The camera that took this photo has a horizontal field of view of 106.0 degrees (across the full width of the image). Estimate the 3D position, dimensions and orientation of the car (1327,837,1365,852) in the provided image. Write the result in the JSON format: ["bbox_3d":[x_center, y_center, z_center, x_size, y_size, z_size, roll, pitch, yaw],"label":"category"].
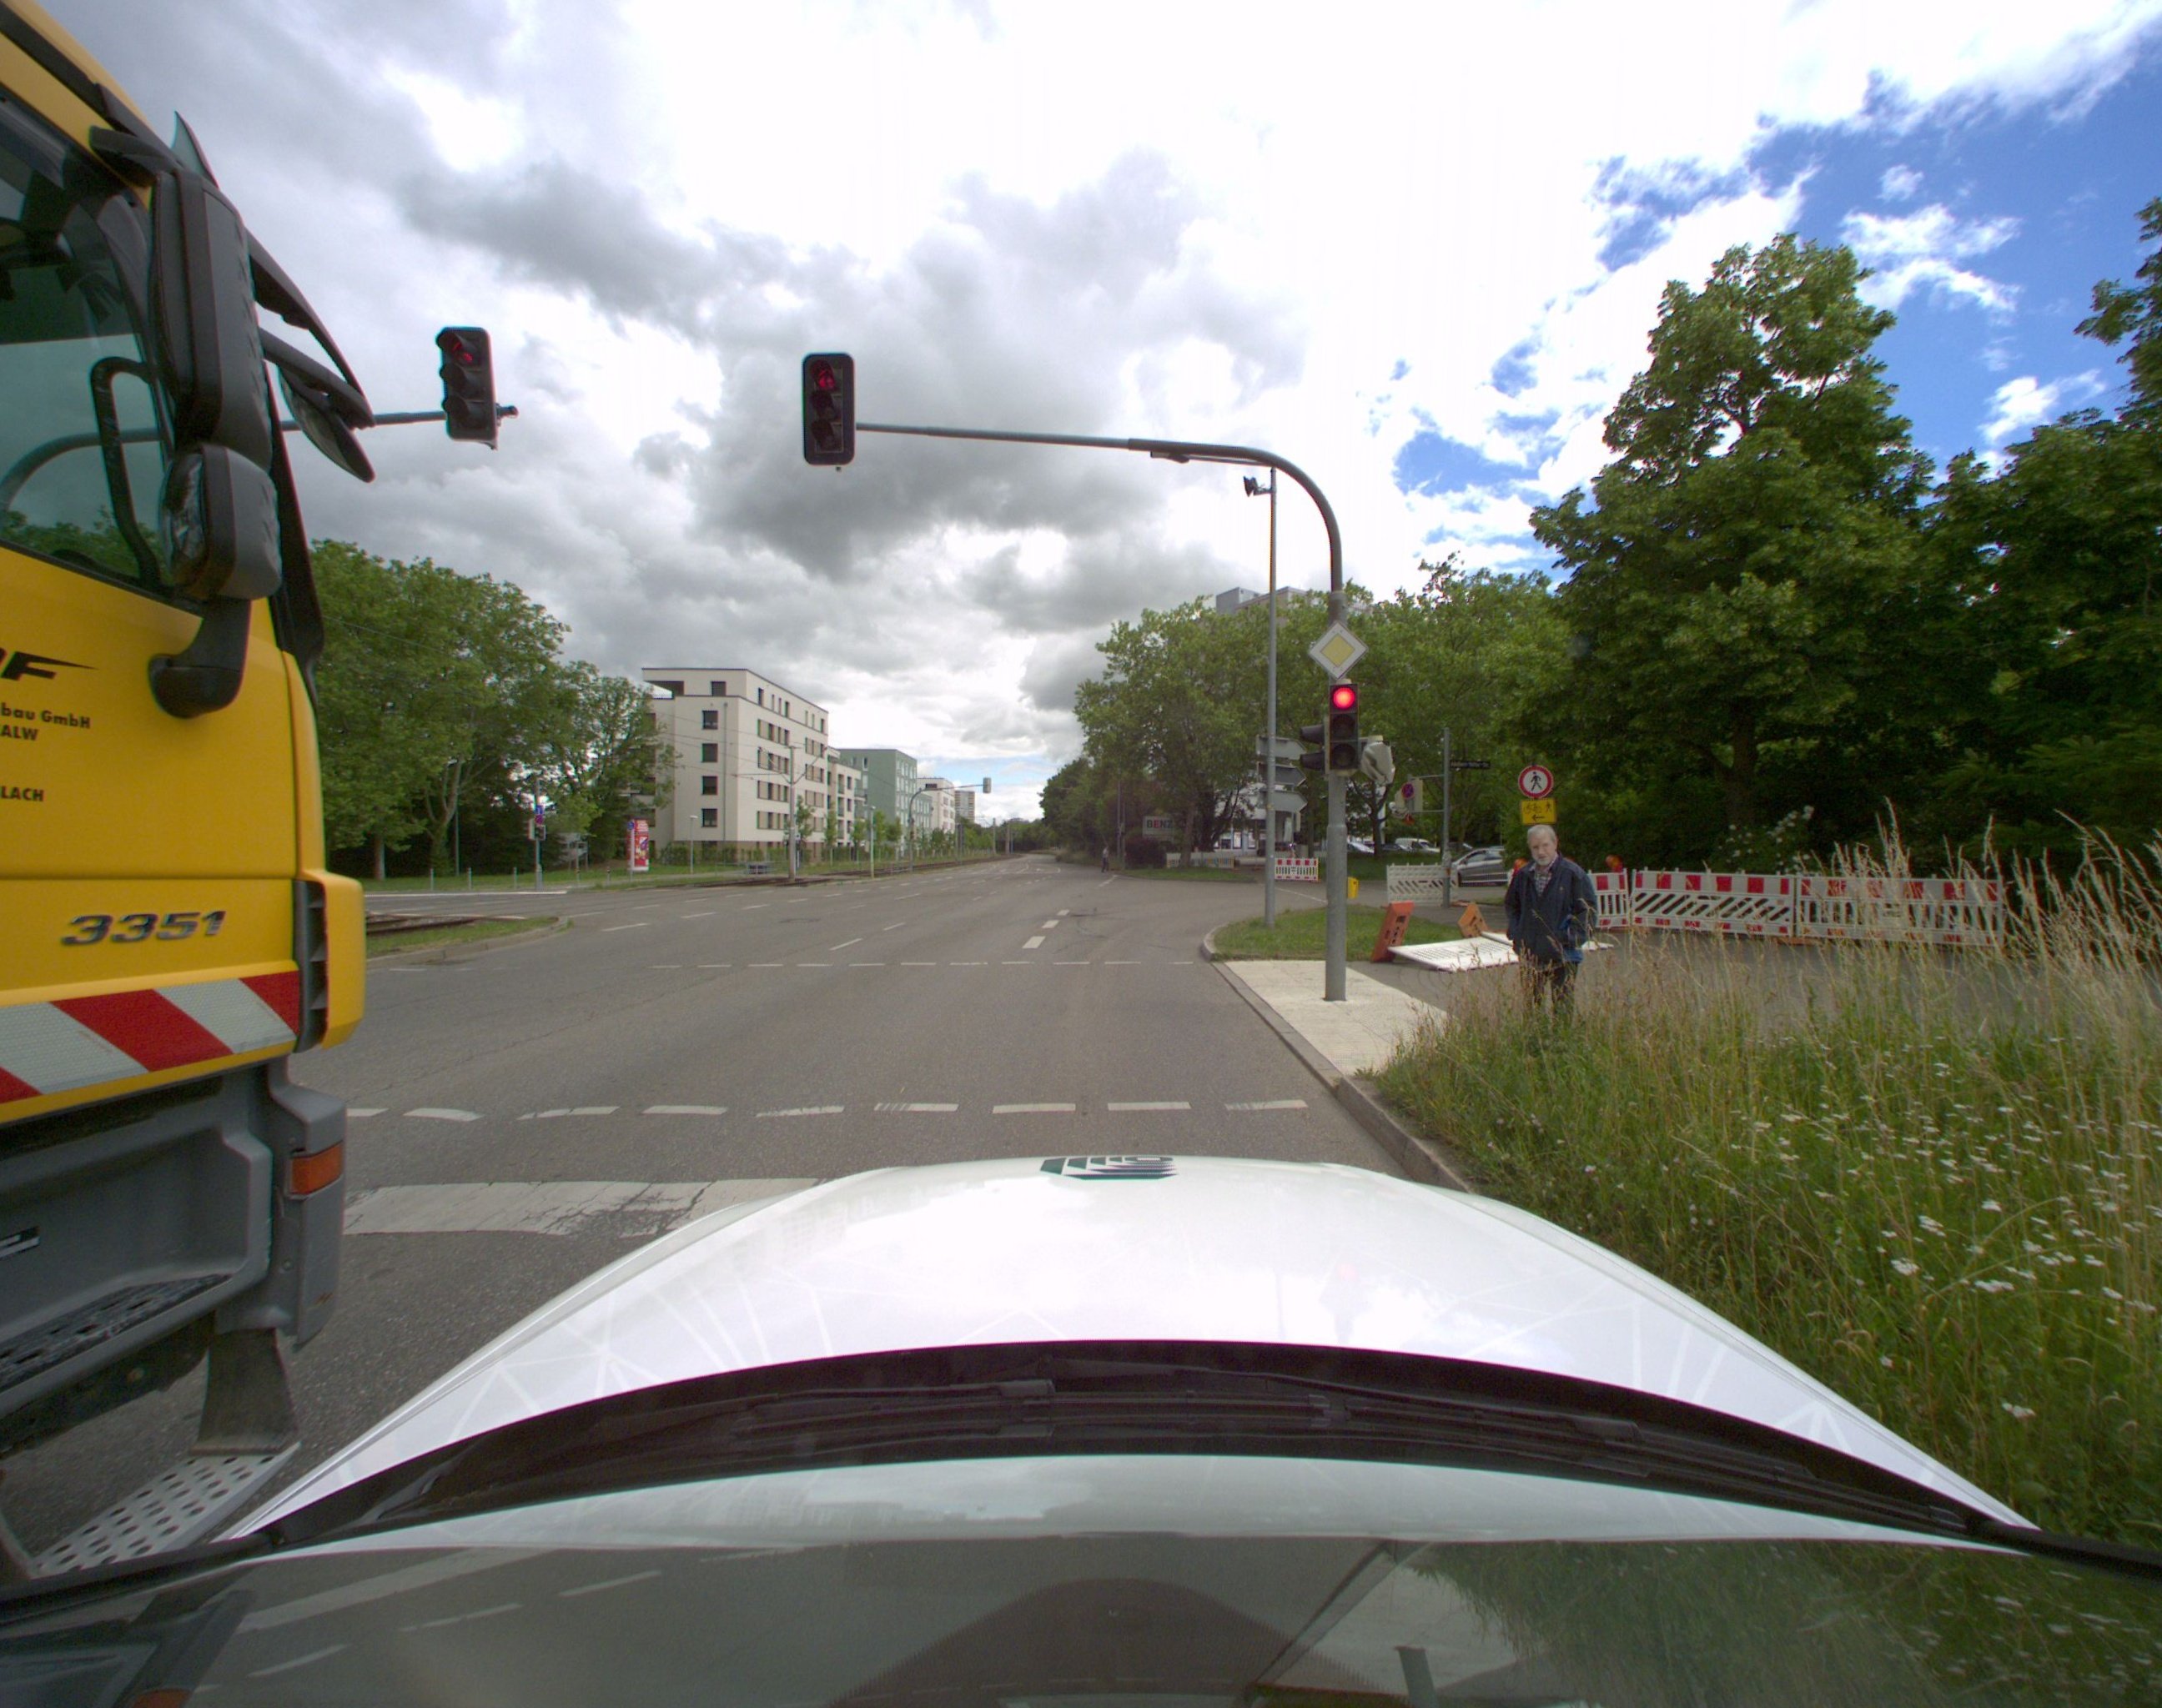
[{"bbox_3d":[25.314,-0.898,77.806,1.489,1.404,3.377,0,-1,-29],"label":"car"}]

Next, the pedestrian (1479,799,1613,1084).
[{"bbox_3d":[3.195,0.530,5.566,0.719,1.740,0.962,-1,0,33],"label":"pedestrian"}]

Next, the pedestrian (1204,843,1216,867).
[{"bbox_3d":[7.841,0.068,49.352,0.693,1.489,0.722,-1,-1,8],"label":"pedestrian"}]

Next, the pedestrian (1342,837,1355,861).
[{"bbox_3d":[22.418,-0.393,68.300,0.802,2.002,0.853,0,-1,-2],"label":"pedestrian"}]

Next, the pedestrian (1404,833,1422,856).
[{"bbox_3d":[27.791,-0.816,68.192,1.071,1.871,1.057,0,-1,-6],"label":"pedestrian"}]

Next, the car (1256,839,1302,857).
[{"bbox_3d":[17.521,-0.497,72.275,1.736,1.500,4.234,0,-1,-24],"label":"car"}]

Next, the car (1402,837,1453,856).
[{"bbox_3d":[29.021,-0.602,68.344,1.489,1.465,3.856,0,-1,-29],"label":"car"}]

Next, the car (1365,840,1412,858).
[{"bbox_3d":[24.320,-0.378,64.523,1.488,1.404,3.378,0,-1,-27],"label":"car"}]

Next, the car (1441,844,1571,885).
[{"bbox_3d":[17.338,0.438,33.355,4.379,1.586,1.774,0,-1,2],"label":"car"}]

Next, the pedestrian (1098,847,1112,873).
[{"bbox_3d":[1.536,0.386,52.137,0.844,1.586,0.797,0,-1,6],"label":"pedestrian"}]

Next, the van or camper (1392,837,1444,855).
[{"bbox_3d":[27.423,-0.656,66.352,1.523,1.356,3.738,0,-1,-31],"label":"van or camper"}]

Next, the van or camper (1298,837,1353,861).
[{"bbox_3d":[18.480,-0.384,61.726,1.849,1.684,3.967,-1,0,-25],"label":"van or camper"}]

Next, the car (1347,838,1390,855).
[{"bbox_3d":[28.024,-0.771,79.400,1.677,1.634,3.787,0,1,-28],"label":"car"}]

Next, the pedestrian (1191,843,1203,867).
[{"bbox_3d":[7.078,0.068,49.802,0.693,1.489,0.689,-1,-1,7],"label":"pedestrian"}]
